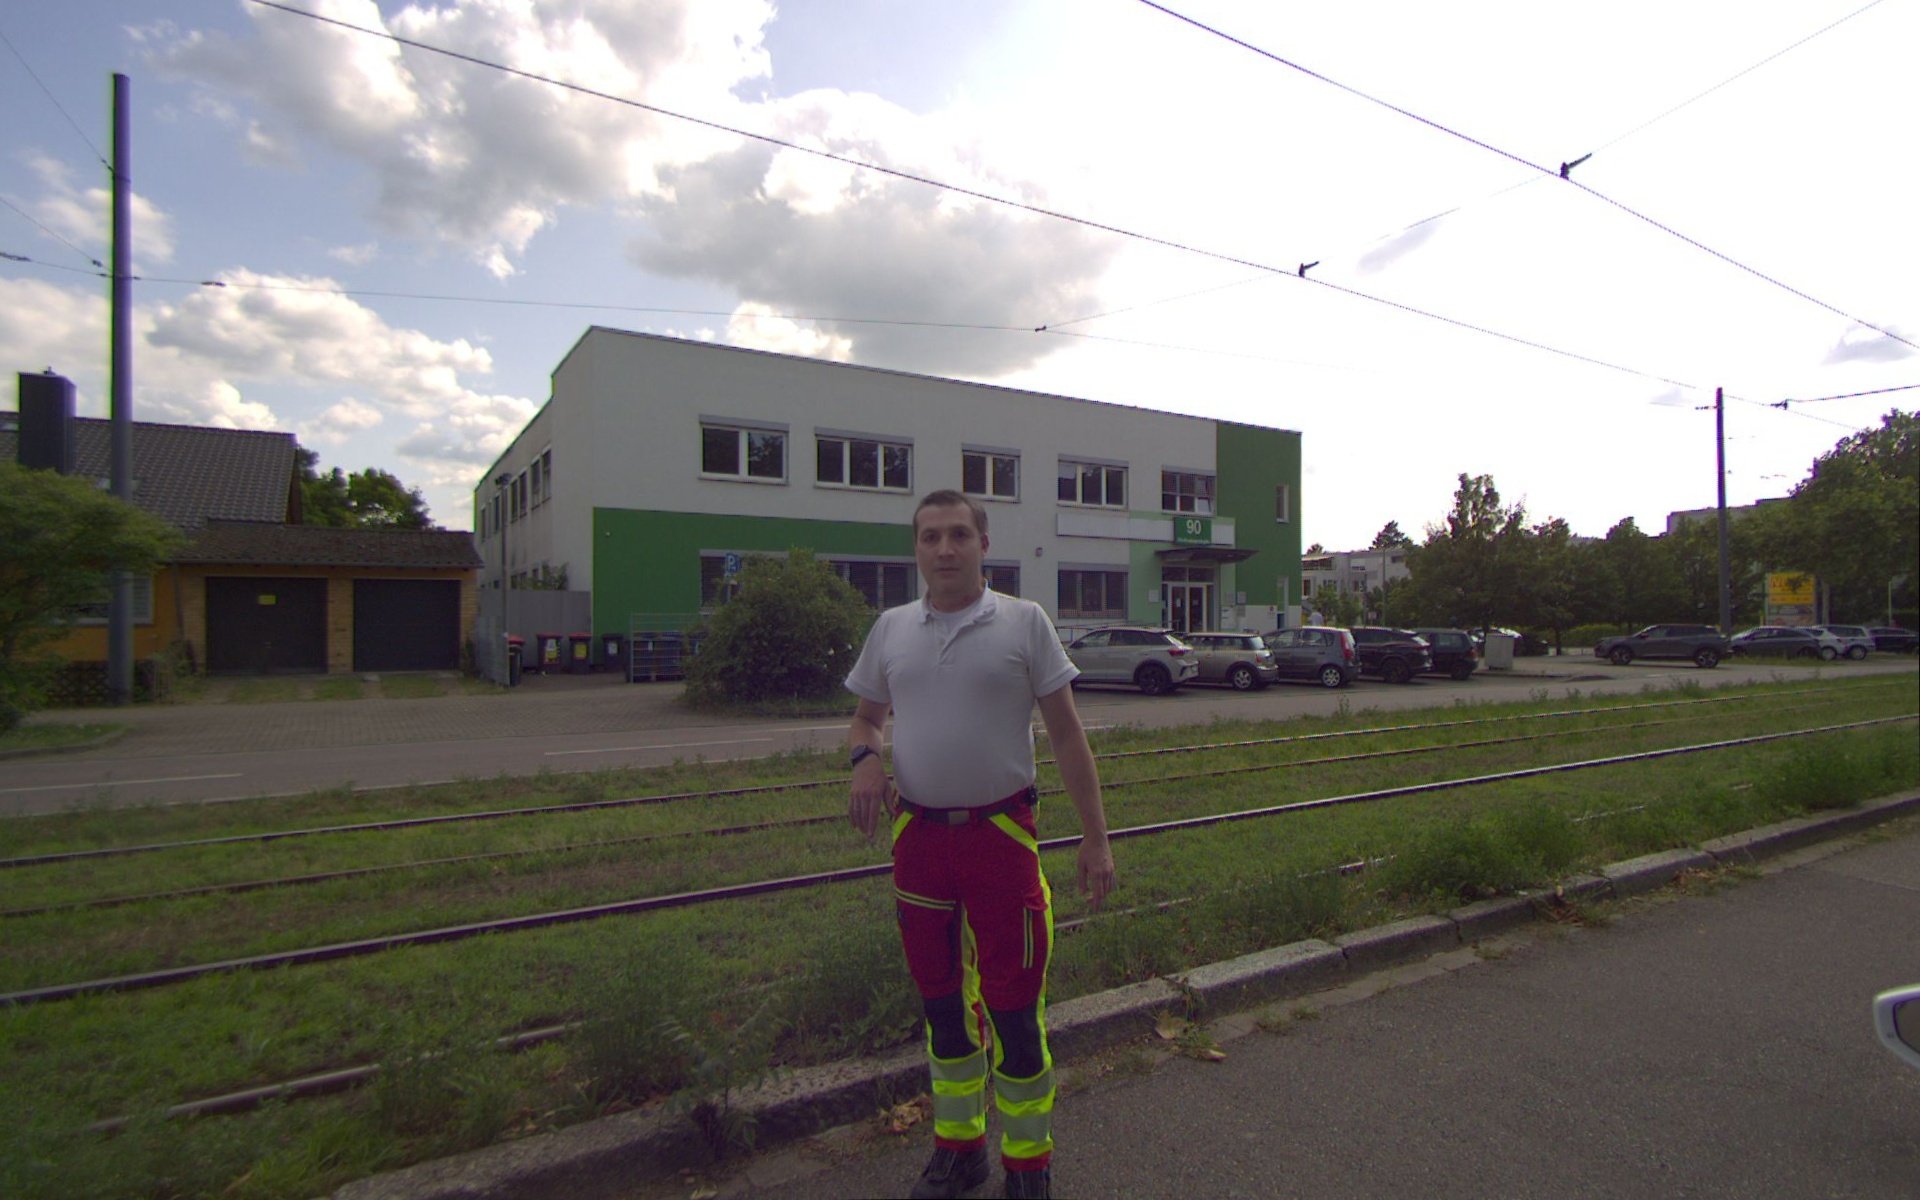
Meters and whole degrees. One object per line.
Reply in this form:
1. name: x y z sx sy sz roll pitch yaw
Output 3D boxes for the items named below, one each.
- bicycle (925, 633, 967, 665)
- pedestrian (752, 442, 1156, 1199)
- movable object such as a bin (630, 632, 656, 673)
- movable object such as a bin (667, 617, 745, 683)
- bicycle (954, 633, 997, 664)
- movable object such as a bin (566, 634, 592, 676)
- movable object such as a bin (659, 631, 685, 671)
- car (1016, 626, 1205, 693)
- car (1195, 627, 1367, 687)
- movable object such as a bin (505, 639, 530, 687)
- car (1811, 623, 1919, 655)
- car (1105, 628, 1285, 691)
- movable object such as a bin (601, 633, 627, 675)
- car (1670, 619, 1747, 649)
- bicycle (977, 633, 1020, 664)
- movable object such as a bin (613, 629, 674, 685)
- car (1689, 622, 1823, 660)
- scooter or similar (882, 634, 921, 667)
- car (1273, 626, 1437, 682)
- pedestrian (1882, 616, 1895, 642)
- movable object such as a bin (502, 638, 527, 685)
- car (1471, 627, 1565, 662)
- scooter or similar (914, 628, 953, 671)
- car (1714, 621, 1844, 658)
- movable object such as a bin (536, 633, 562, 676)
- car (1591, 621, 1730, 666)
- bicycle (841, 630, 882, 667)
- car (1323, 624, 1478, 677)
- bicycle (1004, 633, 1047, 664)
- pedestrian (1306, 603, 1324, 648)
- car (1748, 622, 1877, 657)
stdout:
1. bicycle: -0.468 1.521 31.673 0.453 0.911 1.848 2 0 -30
2. pedestrian: 0.029 0.554 2.400 0.789 1.709 0.851 0 0 7
3. movable object such as a bin: -8.592 1.424 27.227 0.558 1.056 0.565 -1 1 -31
4. movable object such as a bin: -6.286 1.207 24.867 1.691 1.540 1.001 0 1 -29
5. bicycle: 0.480 1.551 32.293 0.453 0.911 1.848 2 0 -30
6. movable object such as a bin: -10.008 1.431 26.359 0.558 1.056 0.565 -1 1 -31
7. movable object such as a bin: -7.930 1.397 27.617 0.558 1.056 0.565 -1 1 -31
8. car: 3.632 1.391 24.230 4.155 1.501 1.882 -1 -2 25
9. car: 8.696 1.501 27.281 4.160 1.501 1.880 -1 -2 30
10. movable object such as a bin: -10.183 1.451 23.113 0.476 1.056 0.502 -1 1 -31
11. car: 46.175 1.937 50.974 4.151 1.501 1.883 1 -1 19
12. car: 6.030 1.481 25.891 4.160 1.501 1.880 -1 -2 30
13. movable object such as a bin: -9.252 1.437 26.855 0.558 1.056 0.565 -1 1 -31
14. car: 48.535 2.179 65.240 1.960 1.773 4.000 1 0 0
15. bicycle: 1.240 1.575 32.755 0.453 0.911 1.848 2 0 -30
16. movable object such as a bin: -7.601 1.353 24.108 1.241 1.251 1.001 0 1 -29
17. car: 34.353 1.760 43.478 4.154 1.501 1.882 1 -1 23
18. scooter or similar: -1.815 1.537 30.986 0.453 0.911 1.727 2 0 -30
19. car: 11.320 1.510 28.835 4.160 1.501 1.880 -1 -2 30
20. pedestrian: 59.980 1.880 64.903 0.597 1.699 0.463 1 -1 -33
21. movable object such as a bin: -10.462 1.446 23.595 0.474 1.056 0.491 -1 1 -31
22. car: 29.191 2.312 52.679 1.755 1.586 3.970 2 0 -28
23. scooter or similar: -0.788 1.441 29.608 1.073 1.171 1.306 2 0 -2
24. car: 36.716 1.736 45.153 4.154 1.501 1.882 1 -1 23
25. movable object such as a bin: -10.617 1.403 25.958 0.558 1.056 0.565 -1 1 -31
26. car: 26.170 1.583 37.669 4.164 1.501 1.878 0 -1 34
27. bicycle: -2.951 1.444 30.009 0.453 0.999 1.848 1 0 -30
28. car: 13.523 1.520 30.878 4.160 1.501 1.880 -1 -2 30
29. bicycle: 2.152 1.594 33.266 0.453 0.911 1.848 2 0 -30
30. pedestrian: 14.954 1.068 42.306 0.503 1.852 0.543 1 -1 -33
31. car: 39.380 1.793 46.532 4.154 1.501 1.882 1 -1 23
